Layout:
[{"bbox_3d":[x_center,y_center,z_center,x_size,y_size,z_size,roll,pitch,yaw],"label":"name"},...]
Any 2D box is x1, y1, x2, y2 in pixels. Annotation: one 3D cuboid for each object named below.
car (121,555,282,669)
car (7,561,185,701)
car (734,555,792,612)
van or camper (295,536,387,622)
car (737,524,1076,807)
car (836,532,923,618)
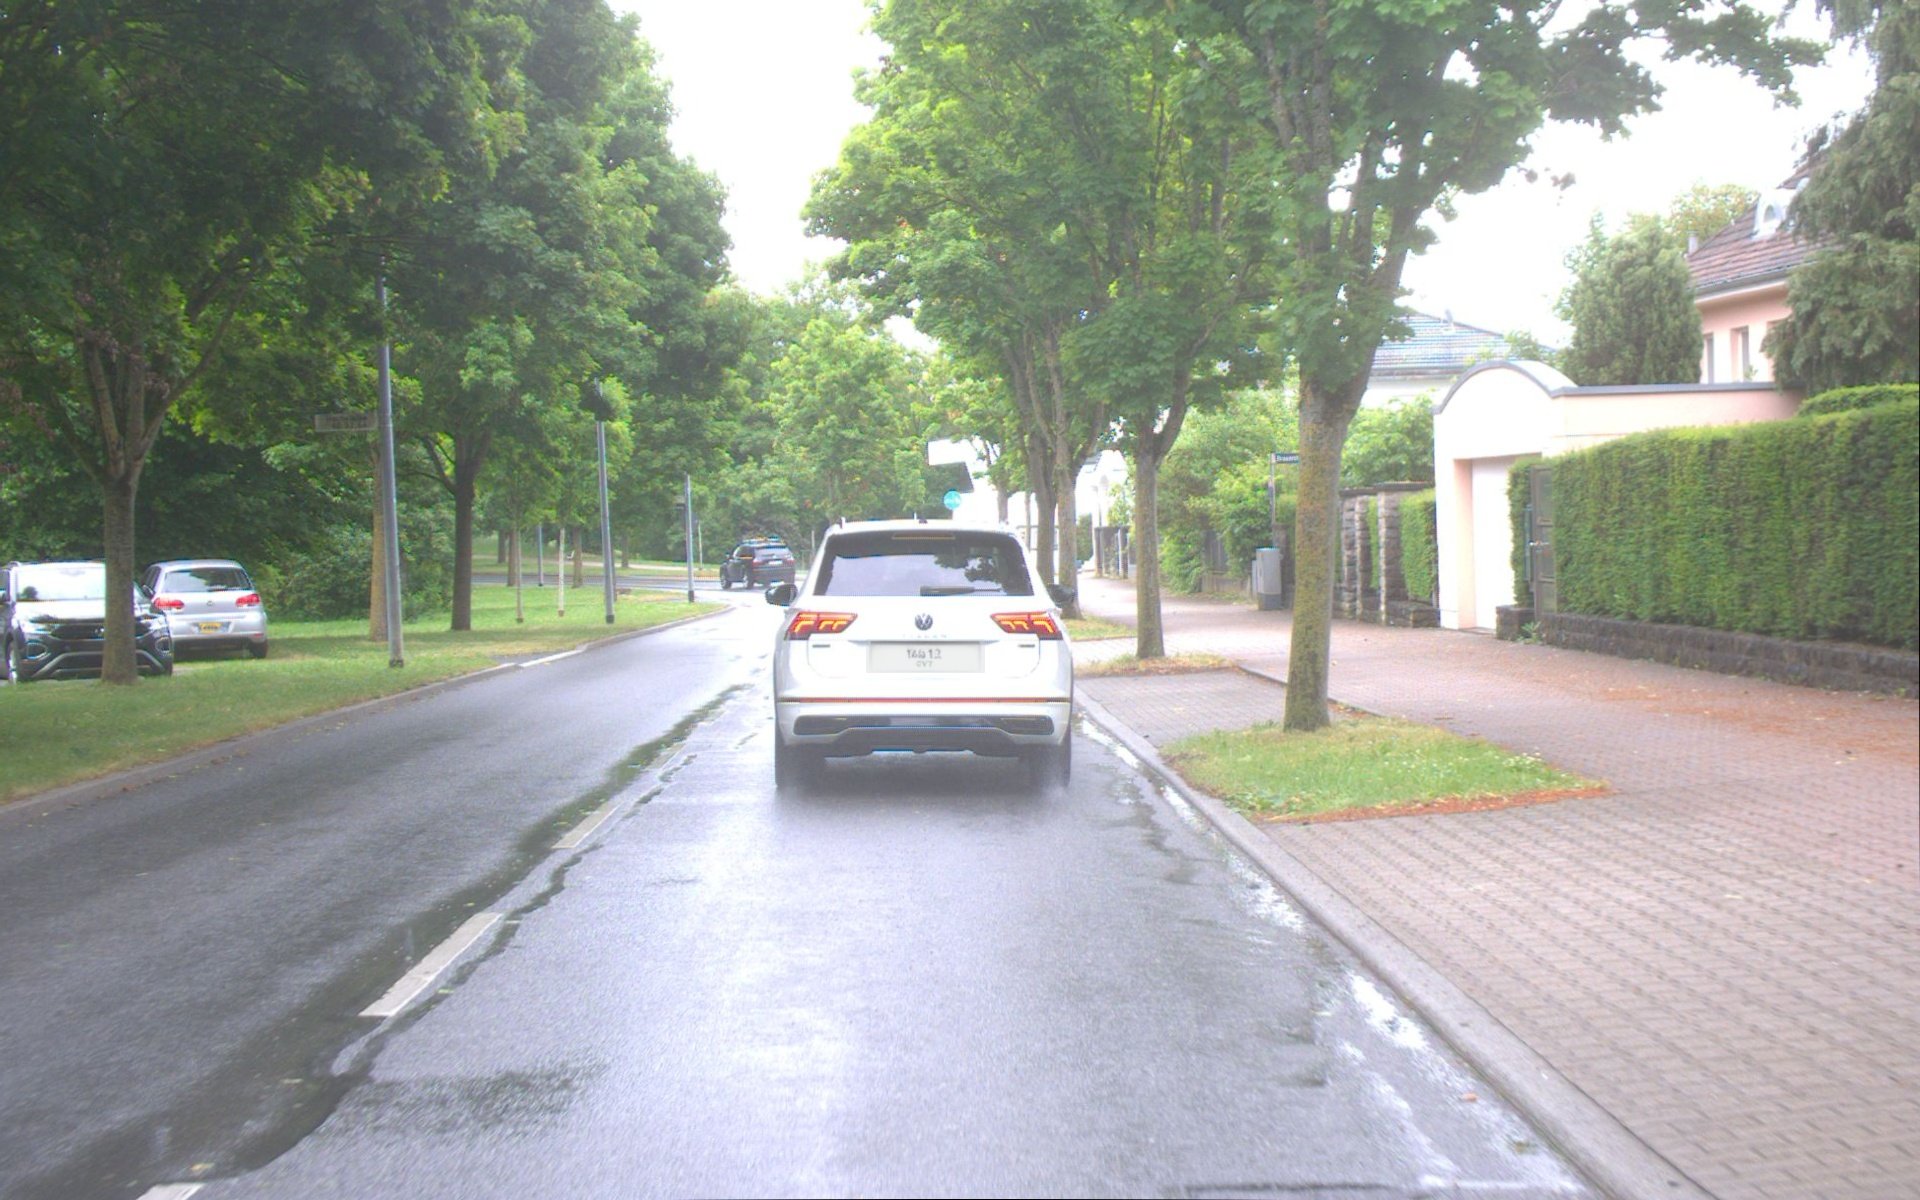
[{"bbox_3d":[-11.440,0.148,51.677,1.880,1.425,4.218,-2,3,-18],"label":"car"},{"bbox_3d":[-10.132,0.317,40.296,1.888,1.508,4.251,-1,1,-14],"label":"car"},{"bbox_3d":[-7.106,-0.598,123.707,1.901,2.007,3.945,0,0,-6],"label":"car"},{"bbox_3d":[-18.104,-0.628,100.804,2.384,2.352,6.813,-3,1,-9],"label":"van or camper"},{"bbox_3d":[-0.320,0.351,22.191,1.974,1.647,4.177,0,1,0],"label":"car"},{"bbox_3d":[-1.897,-0.597,81.828,1.901,2.007,3.944,0,0,1],"label":"car"}]
